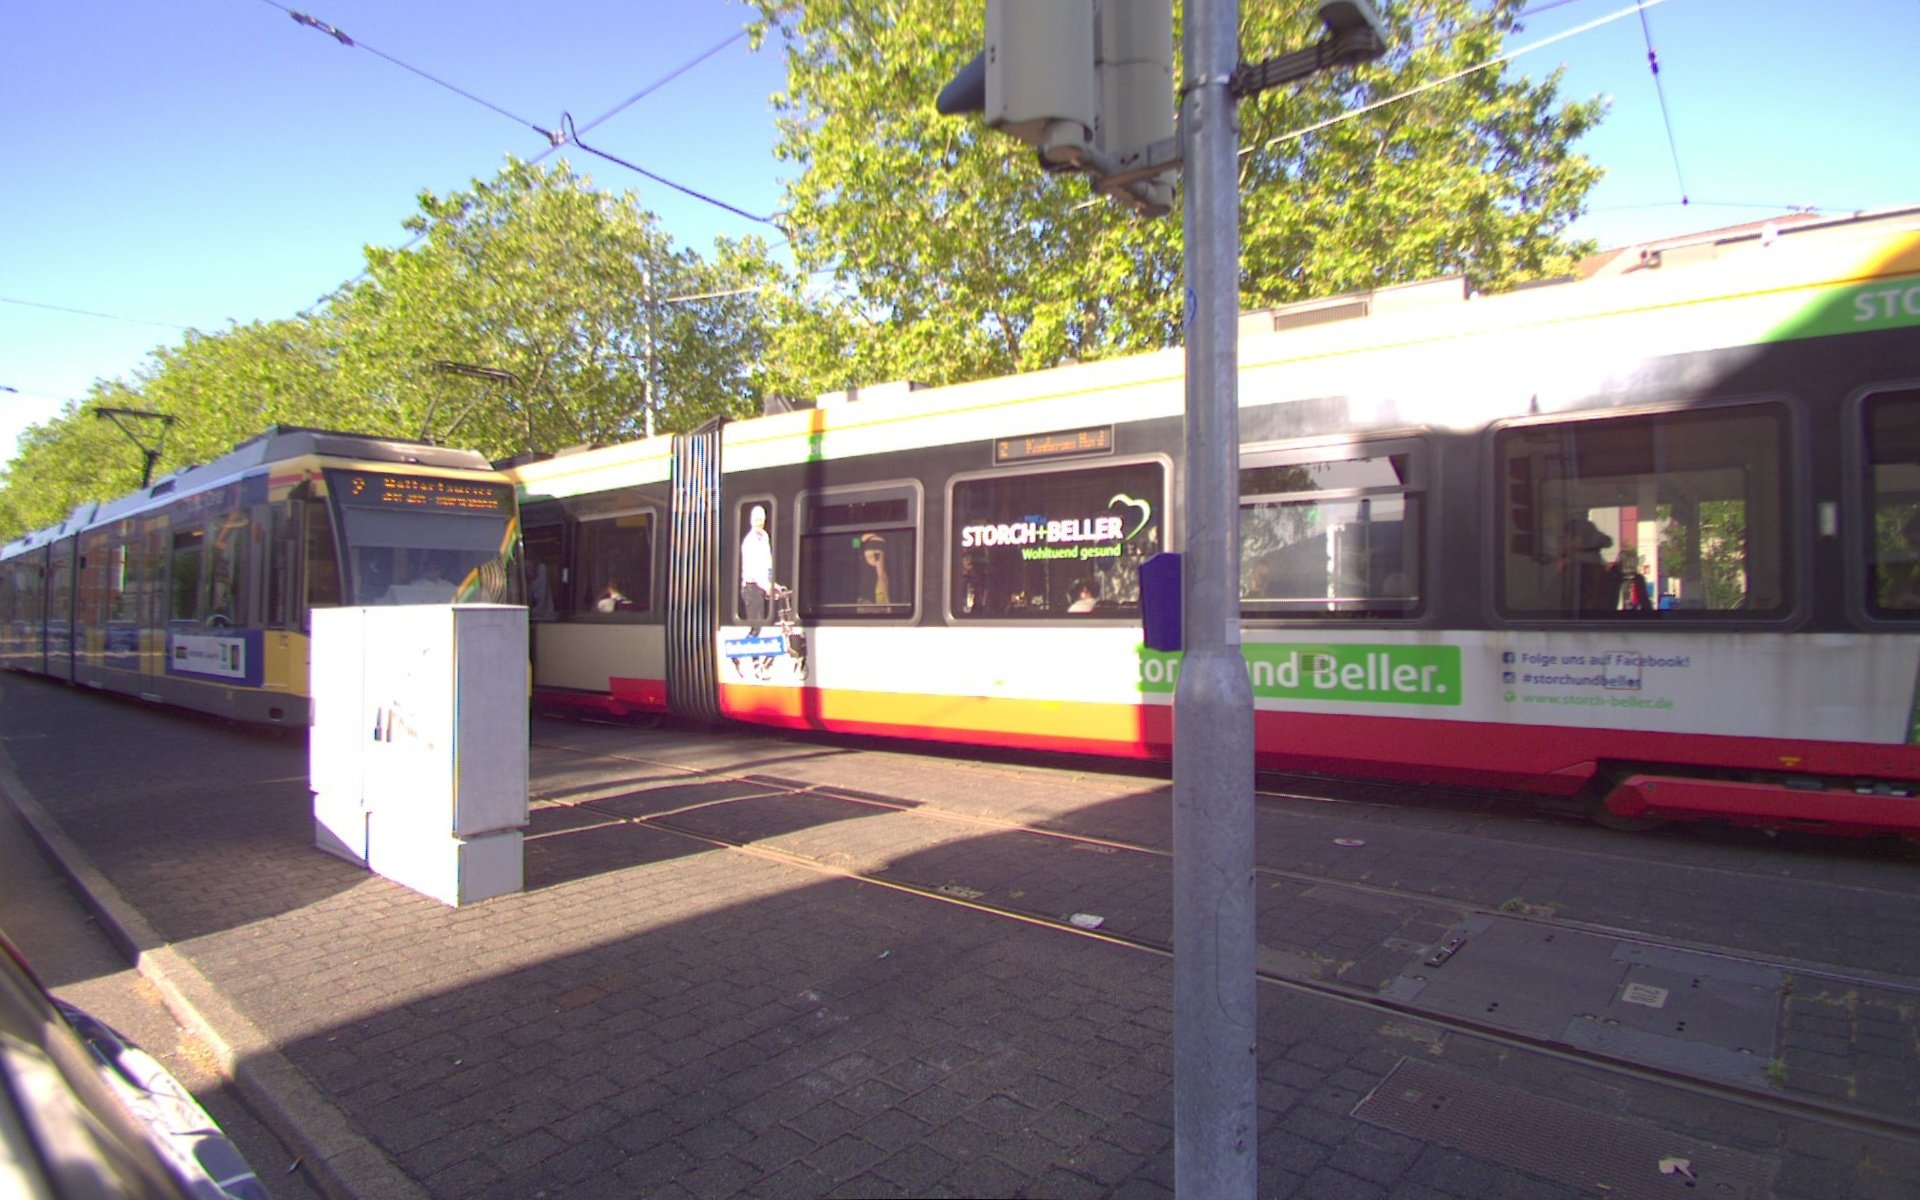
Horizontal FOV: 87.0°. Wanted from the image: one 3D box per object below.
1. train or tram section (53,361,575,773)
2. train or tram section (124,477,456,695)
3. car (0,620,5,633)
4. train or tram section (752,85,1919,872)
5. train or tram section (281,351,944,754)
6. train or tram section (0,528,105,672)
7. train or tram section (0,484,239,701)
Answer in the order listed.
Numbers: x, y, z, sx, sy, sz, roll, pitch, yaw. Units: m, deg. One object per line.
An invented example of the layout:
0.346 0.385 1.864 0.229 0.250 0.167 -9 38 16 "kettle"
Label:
-9.864 -0.187 14.210 12.646 3.692 2.683 -1 -1 41 "train or tram section"
-15.857 -0.128 23.175 13.045 3.843 2.902 -1 -1 41 "train or tram section"
-133.956 3.657 140.437 3.748 1.798 1.674 -1 1 41 "car"
3.814 -0.553 7.303 12.091 3.843 2.907 -1 -1 35 "train or tram section"
-6.051 -0.342 14.819 12.808 3.843 2.903 -1 -1 39 "train or tram section"
-28.970 0.111 30.708 12.646 3.692 2.683 -1 -1 41 "train or tram section"
-19.435 -0.018 22.443 12.646 3.692 2.683 -1 -1 41 "train or tram section"
